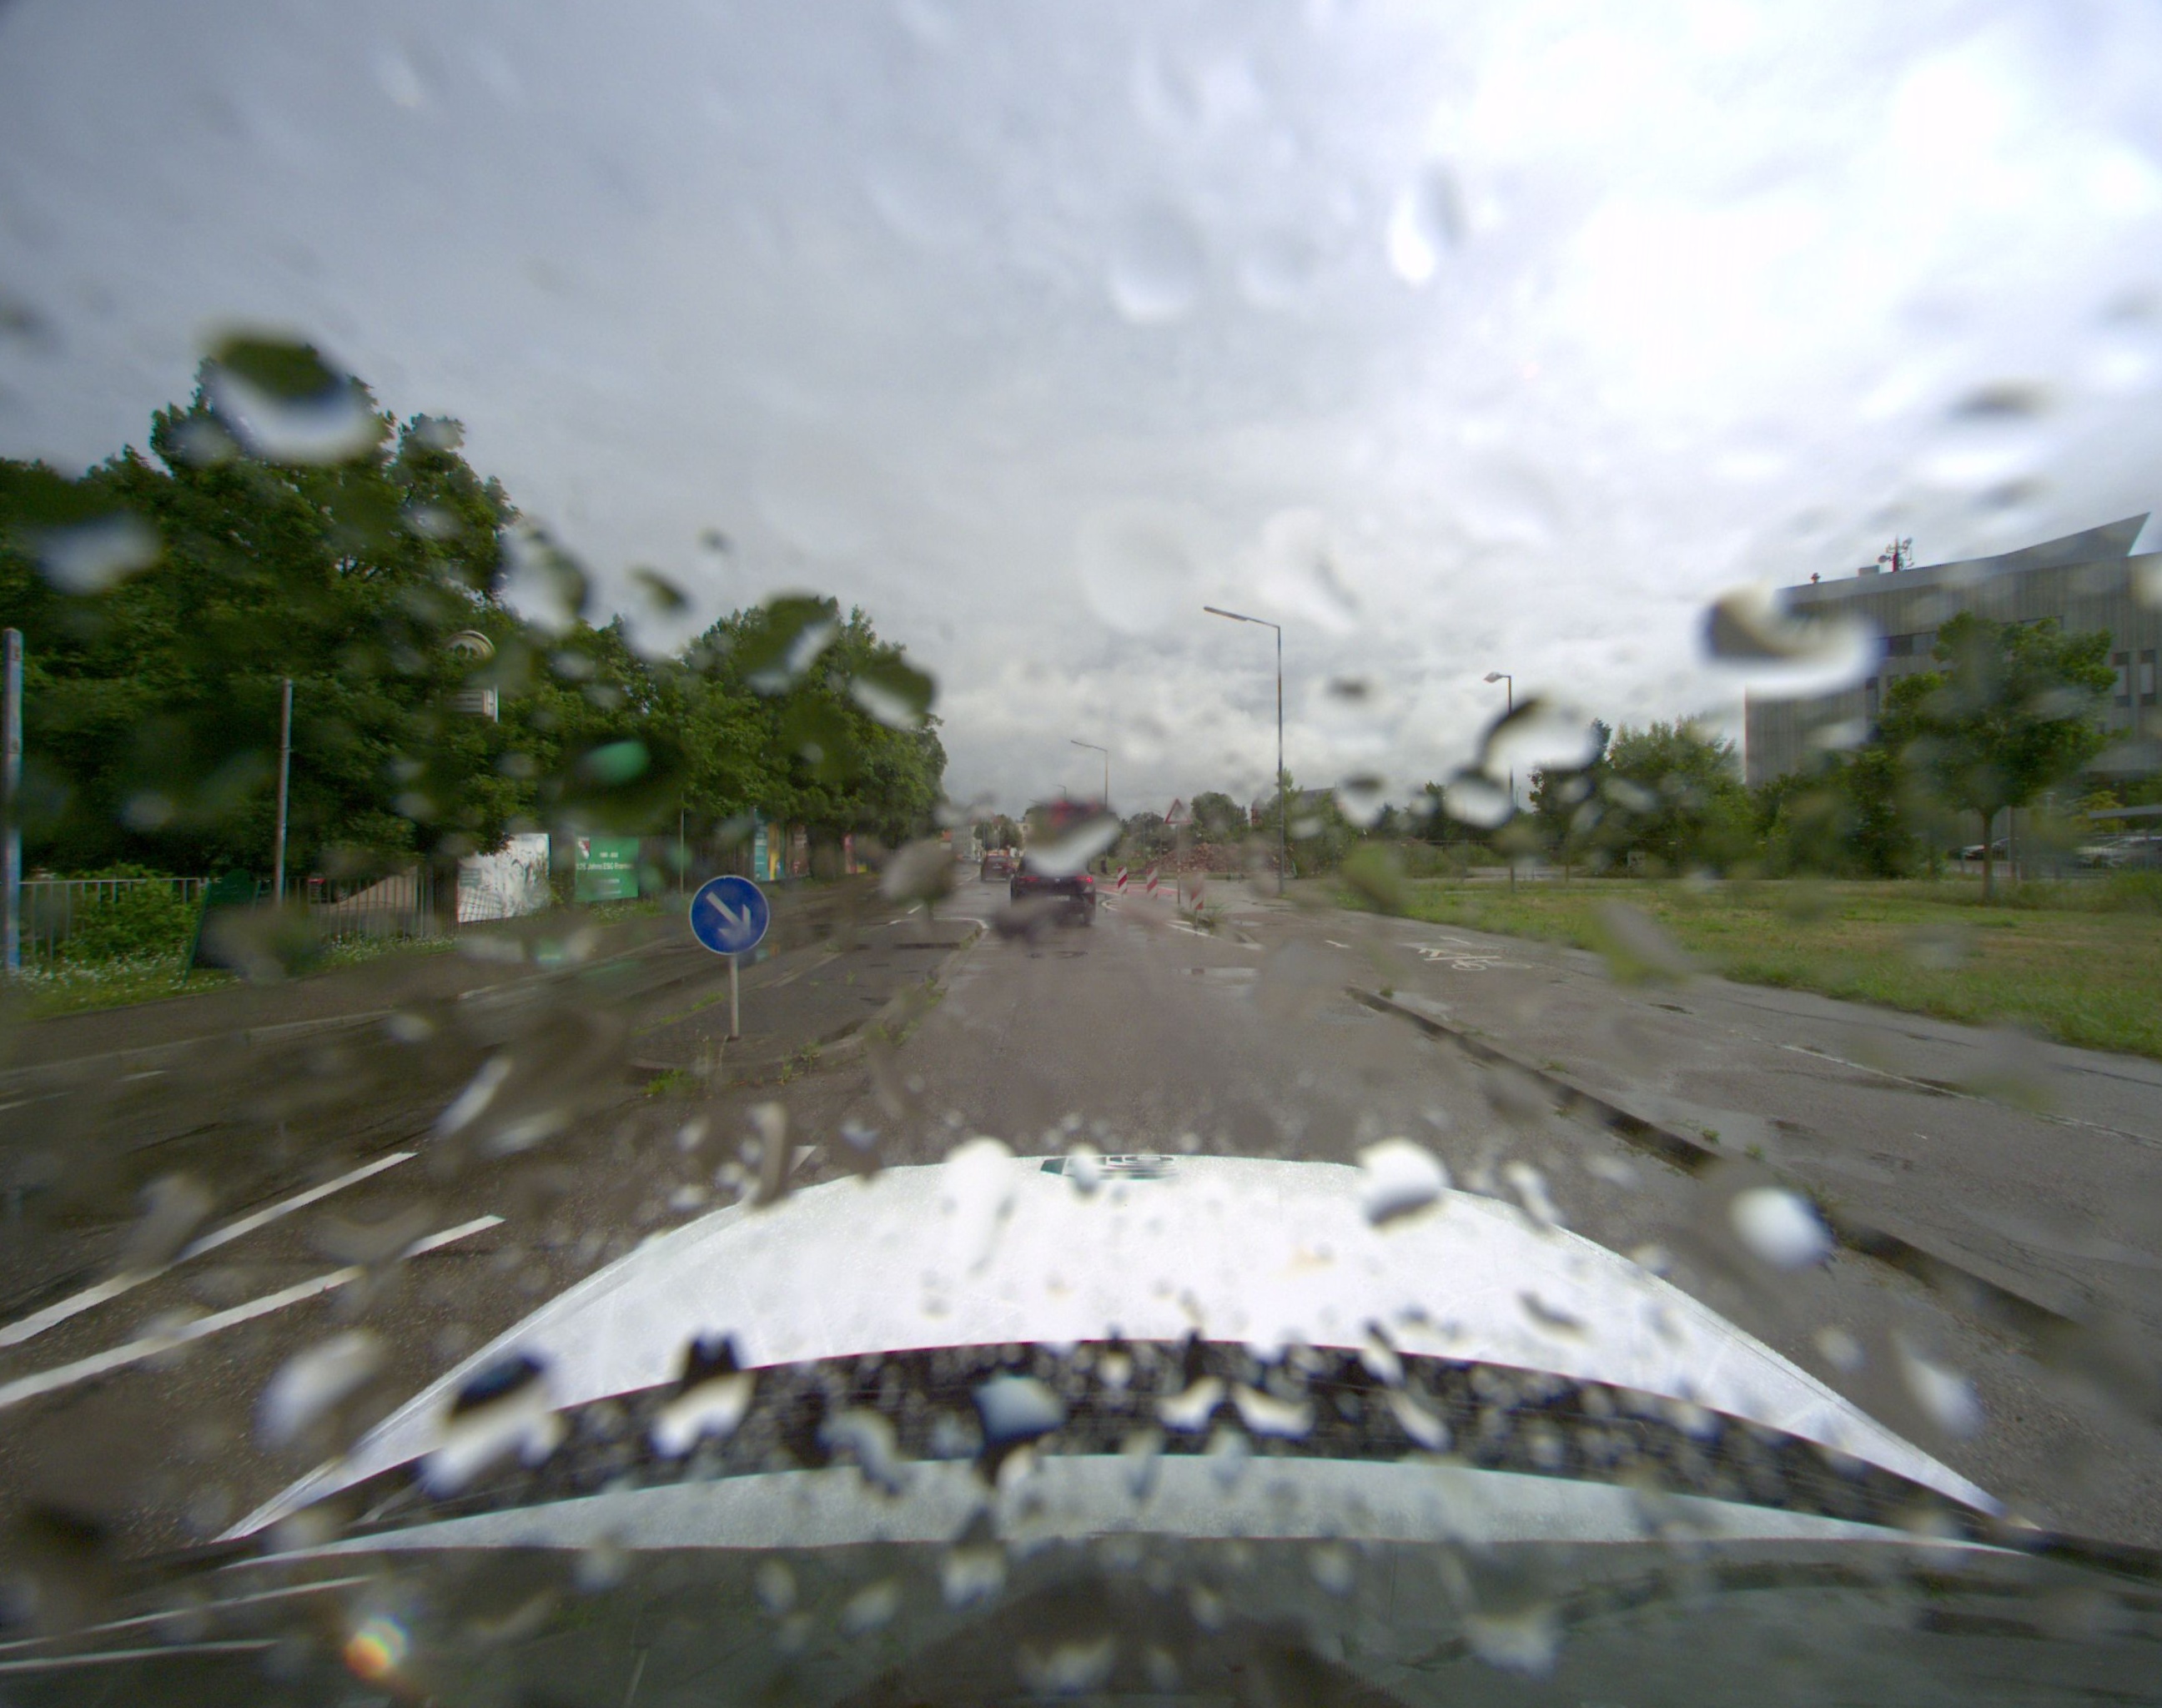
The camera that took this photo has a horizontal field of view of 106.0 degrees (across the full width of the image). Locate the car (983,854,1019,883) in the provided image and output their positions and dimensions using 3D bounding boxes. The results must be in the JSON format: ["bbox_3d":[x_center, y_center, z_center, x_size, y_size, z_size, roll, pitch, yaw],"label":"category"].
[{"bbox_3d":[-4.458,0.819,45.367,1.839,1.442,3.992,-3,-1,-6],"label":"car"}]

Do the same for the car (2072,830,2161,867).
[{"bbox_3d":[59.463,-0.290,45.803,4.332,1.978,2.013,3,2,40],"label":"car"}]

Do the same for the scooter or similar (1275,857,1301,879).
[{"bbox_3d":[11.635,0.774,45.736,1.268,1.187,0.506,3,2,34],"label":"scooter or similar"}]

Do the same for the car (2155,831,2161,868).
[{"bbox_3d":[51.898,-0.109,36.533,4.116,1.720,1.831,3,2,39],"label":"car"}]

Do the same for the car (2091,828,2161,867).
[{"bbox_3d":[55.454,-0.297,41.695,4.332,1.957,2.013,3,2,40],"label":"car"}]

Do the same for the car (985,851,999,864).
[{"bbox_3d":[-12.918,0.516,117.884,1.994,1.702,4.006,-1,0,-7],"label":"car"}]

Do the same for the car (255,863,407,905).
[{"bbox_3d":[-28.670,1.094,31.362,1.991,1.418,4.533,-1,0,-7],"label":"car"}]

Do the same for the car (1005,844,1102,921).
[{"bbox_3d":[-0.756,0.605,19.043,1.984,1.520,3.992,-3,0,-6],"label":"car"}]

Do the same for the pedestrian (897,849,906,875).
[{"bbox_3d":[-12.230,0.537,55.532,0.523,1.701,0.565,2,1,-7],"label":"pedestrian"}]

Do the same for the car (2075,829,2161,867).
[{"bbox_3d":[57.117,-0.301,43.729,4.332,1.971,2.013,3,2,40],"label":"car"}]

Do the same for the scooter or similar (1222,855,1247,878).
[{"bbox_3d":[8.802,0.709,46.630,1.268,1.187,0.506,3,2,34],"label":"scooter or similar"}]
